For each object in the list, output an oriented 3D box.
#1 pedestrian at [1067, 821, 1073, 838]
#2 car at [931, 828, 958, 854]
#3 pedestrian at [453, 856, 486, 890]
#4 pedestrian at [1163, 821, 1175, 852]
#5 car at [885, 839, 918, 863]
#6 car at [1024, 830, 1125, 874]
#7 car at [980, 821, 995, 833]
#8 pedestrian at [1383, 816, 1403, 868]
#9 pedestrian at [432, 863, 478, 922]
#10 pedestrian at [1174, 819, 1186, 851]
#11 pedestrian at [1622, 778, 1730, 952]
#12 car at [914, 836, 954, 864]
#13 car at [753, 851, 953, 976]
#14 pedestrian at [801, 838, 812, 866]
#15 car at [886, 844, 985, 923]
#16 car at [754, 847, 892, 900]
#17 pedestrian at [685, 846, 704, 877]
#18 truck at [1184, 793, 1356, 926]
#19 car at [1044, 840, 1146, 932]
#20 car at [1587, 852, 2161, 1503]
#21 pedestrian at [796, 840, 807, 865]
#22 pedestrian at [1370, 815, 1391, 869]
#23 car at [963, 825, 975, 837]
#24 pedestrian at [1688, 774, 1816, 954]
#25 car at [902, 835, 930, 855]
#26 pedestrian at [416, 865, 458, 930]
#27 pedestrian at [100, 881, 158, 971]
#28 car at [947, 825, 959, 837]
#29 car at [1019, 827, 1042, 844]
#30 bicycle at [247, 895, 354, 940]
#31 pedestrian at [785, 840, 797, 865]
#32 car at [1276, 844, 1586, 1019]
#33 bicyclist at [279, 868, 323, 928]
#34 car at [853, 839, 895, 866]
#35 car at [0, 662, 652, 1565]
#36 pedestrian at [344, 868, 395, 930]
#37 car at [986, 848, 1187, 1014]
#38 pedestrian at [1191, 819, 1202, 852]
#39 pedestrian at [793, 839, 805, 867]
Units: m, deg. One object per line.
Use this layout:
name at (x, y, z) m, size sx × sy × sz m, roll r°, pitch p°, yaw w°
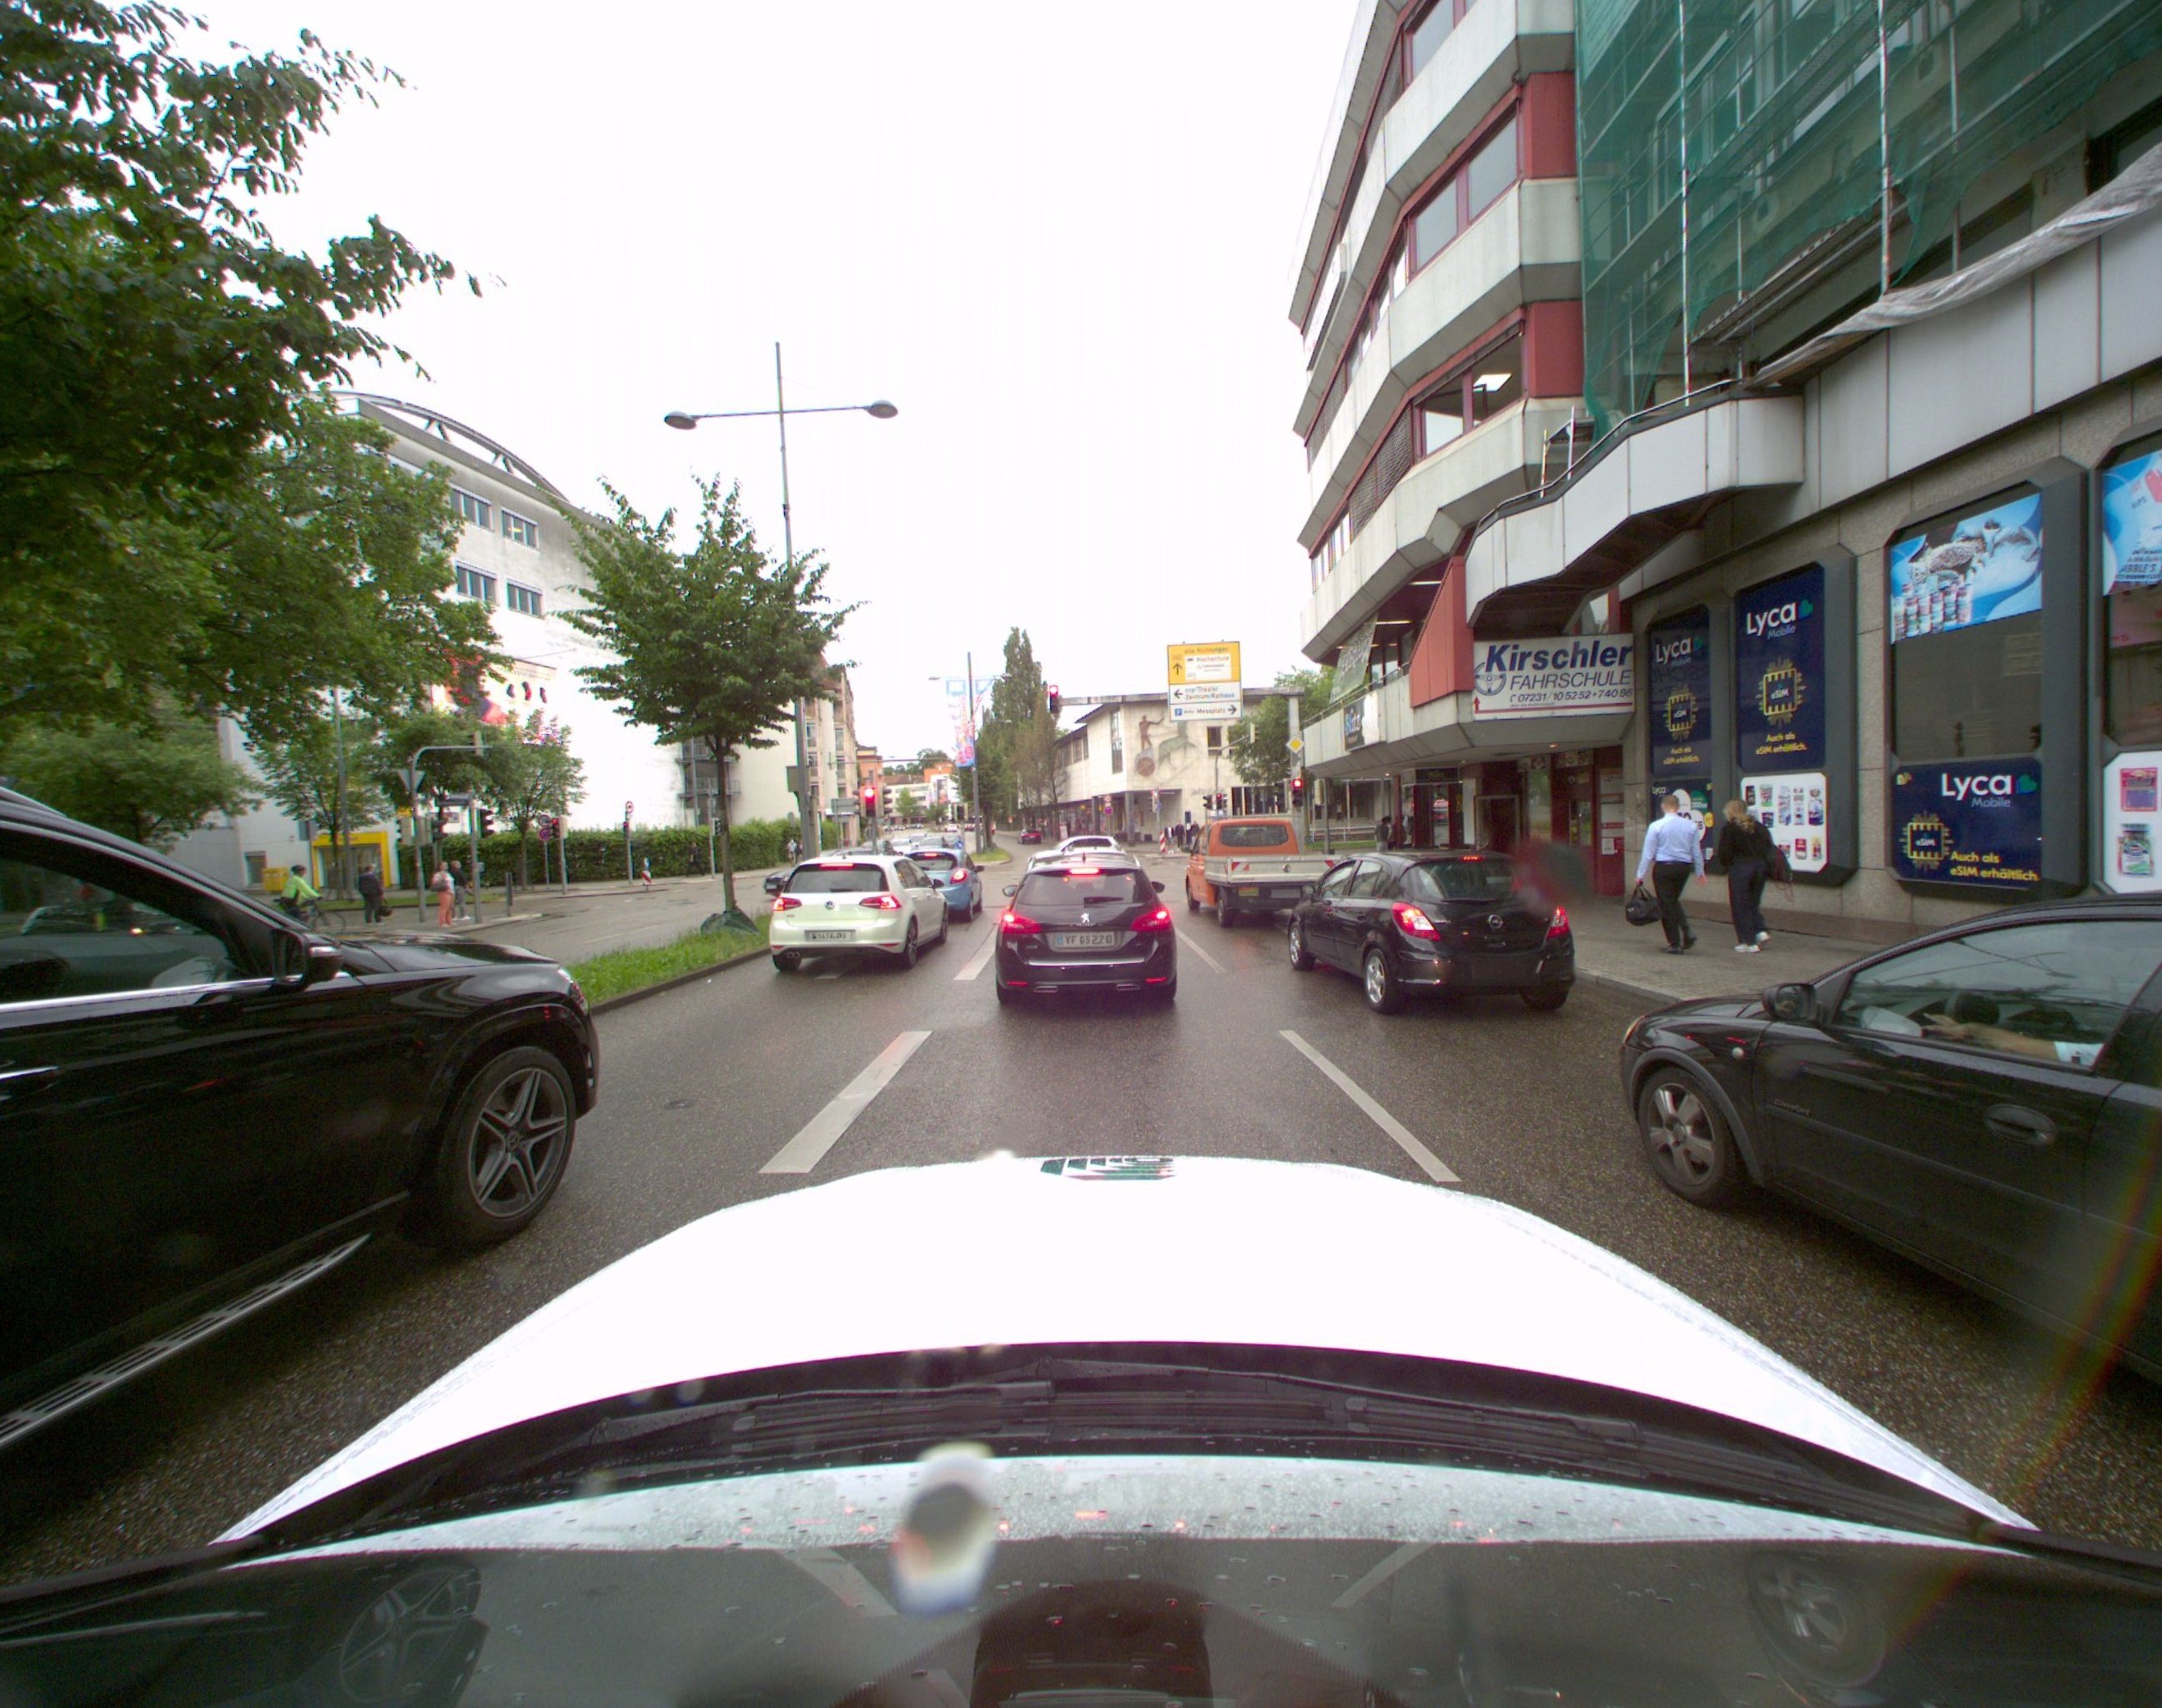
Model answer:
pedestrian at (-1.183, -2.542, 85.008) m, size 0.469 × 1.748 × 0.537 m, roll 0°, pitch -1°, yaw -19°
car at (-9.350, -0.841, 56.072) m, size 1.743 × 1.640 × 3.988 m, roll -1°, pitch -1°, yaw -9°
pedestrian at (-29.542, 0.914, 39.350) m, size 1.059 × 1.578 × 0.683 m, roll -1°, pitch -1°, yaw -3°
pedestrian at (5.088, -1.006, 47.294) m, size 0.633 × 1.758 × 0.735 m, roll -1°, pitch -1°, yaw 8°
car at (-11.994, -0.212, 54.486) m, size 1.630 × 1.486 × 3.604 m, roll -1°, pitch 1°, yaw -4°
car at (-0.289, -0.077, 33.090) m, size 3.746 × 1.468 × 1.630 m, roll -4°, pitch -1°, yaw -14°
car at (-13.677, -3.988, 118.978) m, size 1.726 × 1.490 × 4.713 m, roll 0°, pitch -1°, yaw -12°
pedestrian at (10.159, -0.388, 26.501) m, size 0.395 × 1.640 × 0.504 m, roll -3°, pitch -1°, yaw 2°
pedestrian at (-18.359, 1.120, 23.884) m, size 0.750 × 1.661 × 0.628 m, roll -2°, pitch 2°, yaw 1°
pedestrian at (5.991, -1.138, 49.189) m, size 0.633 × 1.897 × 0.735 m, roll -1°, pitch -1°, yaw 8°
pedestrian at (6.860, 0.131, 9.422) m, size 0.733 × 1.935 × 0.640 m, roll -1°, pitch -1°, yaw 1°
car at (-8.664, -0.214, 48.282) m, size 1.739 × 1.579 × 3.997 m, roll -1°, pitch -1°, yaw -1°
car at (-3.022, 0.701, 11.651) m, size 1.772 × 1.429 × 3.841 m, roll -1°, pitch 1°, yaw 0°
pedestrian at (-17.601, -0.136, 52.264) m, size 0.538 × 1.748 × 0.564 m, roll -1°, pitch -1°, yaw -3°
car at (-3.037, 0.551, 17.624) m, size 1.629 × 1.486 × 3.606 m, roll -1°, pitch 1°, yaw -3°
car at (-8.293, 0.552, 26.712) m, size 1.618 × 1.486 × 4.764 m, roll 0°, pitch 1°, yaw 22°
pedestrian at (-20.627, 0.393, 43.459) m, size 0.730 × 1.643 × 0.638 m, roll -1°, pitch -1°, yaw -6°
truck at (3.436, 0.033, 15.915) m, size 2.170 × 2.172 × 5.020 m, roll -1°, pitch 1°, yaw 0°
car at (0.287, 0.501, 15.479) m, size 1.690 × 1.486 × 3.795 m, roll -1°, pitch 1°, yaw 2°
car at (3.265, 0.741, 2.280) m, size 1.600 × 1.429 × 3.626 m, roll -1°, pitch 1°, yaw 3°
pedestrian at (-18.452, -0.084, 53.749) m, size 0.579 × 1.599 × 0.526 m, roll -1°, pitch -1°, yaw -5°
pedestrian at (9.632, -0.382, 26.230) m, size 0.424 × 1.682 × 0.450 m, roll -3°, pitch -1°, yaw 0°
car at (-20.375, -4.215, 147.987) m, size 1.709 × 1.936 × 3.979 m, roll 0°, pitch -1°, yaw -15°
pedestrian at (7.662, 0.117, 9.336) m, size 0.733 × 1.934 × 0.640 m, roll -5°, pitch -1°, yaw 1°
car at (-12.436, -0.703, 61.605) m, size 1.630 × 1.486 × 3.604 m, roll -1°, pitch 1°, yaw -4°
pedestrian at (-17.083, 1.145, 21.619) m, size 0.555 × 1.661 × 0.580 m, roll -2°, pitch 2°, yaw 2°
pedestrian at (-18.516, 1.386, 15.848) m, size 0.552 × 1.661 × 0.583 m, roll -1°, pitch 2°, yaw 33°
car at (-23.033, -4.175, 146.905) m, size 1.709 × 1.882 × 3.979 m, roll 0°, pitch -1°, yaw -15°
car at (-4.938, -1.800, 78.989) m, size 1.787 × 1.454 × 4.494 m, roll -4°, pitch 3°, yaw -9°
bicycle at (-20.572, 1.654, 21.520) m, size 0.610 × 1.000 × 1.950 m, roll -3°, pitch -1°, yaw 18°
pedestrian at (-18.774, -0.095, 52.773) m, size 0.579 × 1.599 × 0.526 m, roll -1°, pitch -1°, yaw -5°
car at (3.383, 0.616, 8.704) m, size 1.611 × 1.429 × 3.840 m, roll -1°, pitch 1°, yaw -1°
bicyclist at (-20.567, 1.155, 21.478) m, size 0.626 × 1.530 × 0.613 m, roll -3°, pitch -1°, yaw 24°
car at (-11.968, -0.119, 47.264) m, size 1.569 × 1.486 × 3.608 m, roll -1°, pitch 1°, yaw -1°
car at (-3.199, 0.546, 1.658) m, size 1.905 × 1.870 × 5.073 m, roll -1°, pitch -1°, yaw 1°
pedestrian at (-21.015, 1.324, 24.061) m, size 0.917 × 1.784 × 0.712 m, roll -1°, pitch -1°, yaw 13°
car at (0.068, 0.666, 9.154) m, size 1.772 × 1.429 × 3.842 m, roll -1°, pitch 1°, yaw 0°
pedestrian at (6.901, -1.091, 48.605) m, size 0.633 × 1.897 × 0.735 m, roll -1°, pitch -1°, yaw 8°
pedestrian at (-17.533, -0.041, 50.627) m, size 0.538 × 1.748 × 0.745 m, roll -1°, pitch -1°, yaw -7°
